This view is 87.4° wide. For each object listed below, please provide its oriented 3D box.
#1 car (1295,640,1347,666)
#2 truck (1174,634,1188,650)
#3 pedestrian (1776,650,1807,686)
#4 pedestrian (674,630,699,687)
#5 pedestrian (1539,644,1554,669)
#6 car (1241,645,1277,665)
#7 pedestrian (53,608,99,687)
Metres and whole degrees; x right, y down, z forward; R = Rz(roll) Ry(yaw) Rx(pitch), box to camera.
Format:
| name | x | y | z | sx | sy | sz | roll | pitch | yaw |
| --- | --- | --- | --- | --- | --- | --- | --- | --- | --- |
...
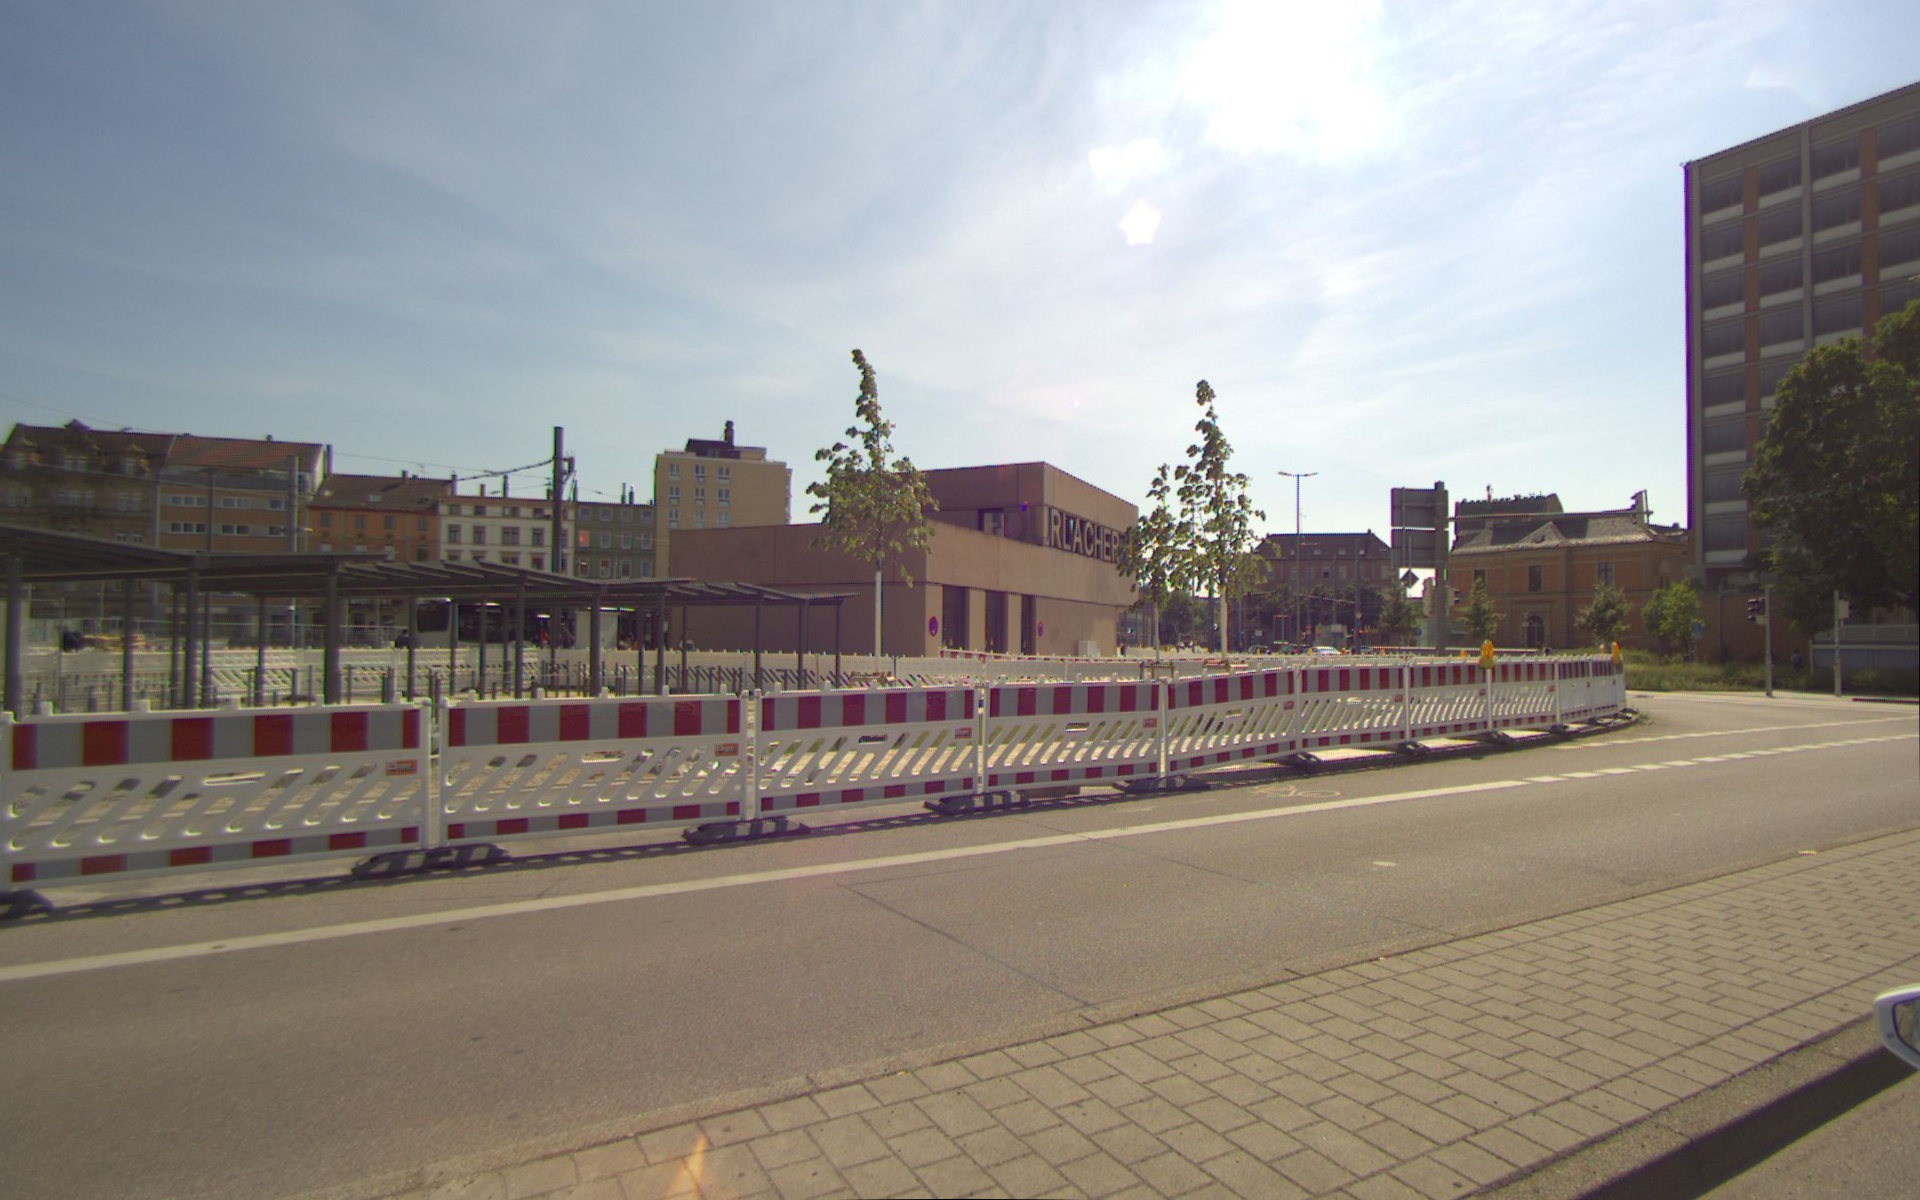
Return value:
| name | x | y | z | sx | sy | sz | roll | pitch | yaw |
| --- | --- | --- | --- | --- | --- | --- | --- | --- | --- |
| car | 26.066 | 3.818 | 72.746 | 1.963 | 1.839 | 3.996 | 1 | -2 | -7 |
| truck | 56.212 | 10.688 | 255.392 | 3.011 | 3.779 | 7.937 | 0 | -2 | 10 |
| pedestrian | 40.804 | 3.345 | 49.314 | 0.857 | 1.748 | 0.799 | 1 | -2 | -7 |
| pedestrian | -7.698 | 1.651 | 28.308 | 0.415 | 1.585 | 0.558 | 0 | -2 | 20 |
| pedestrian | 40.400 | 3.898 | 69.202 | 0.637 | 1.683 | 0.650 | 2 | 0 | -3 |
| car | 23.833 | 4.370 | 80.223 | 1.764 | 1.530 | 4.001 | 1 | -2 | 1 |
| pedestrian | -23.192 | 1.250 | 26.346 | 0.807 | 2.040 | 0.684 | -1 | -3 | 35 |
